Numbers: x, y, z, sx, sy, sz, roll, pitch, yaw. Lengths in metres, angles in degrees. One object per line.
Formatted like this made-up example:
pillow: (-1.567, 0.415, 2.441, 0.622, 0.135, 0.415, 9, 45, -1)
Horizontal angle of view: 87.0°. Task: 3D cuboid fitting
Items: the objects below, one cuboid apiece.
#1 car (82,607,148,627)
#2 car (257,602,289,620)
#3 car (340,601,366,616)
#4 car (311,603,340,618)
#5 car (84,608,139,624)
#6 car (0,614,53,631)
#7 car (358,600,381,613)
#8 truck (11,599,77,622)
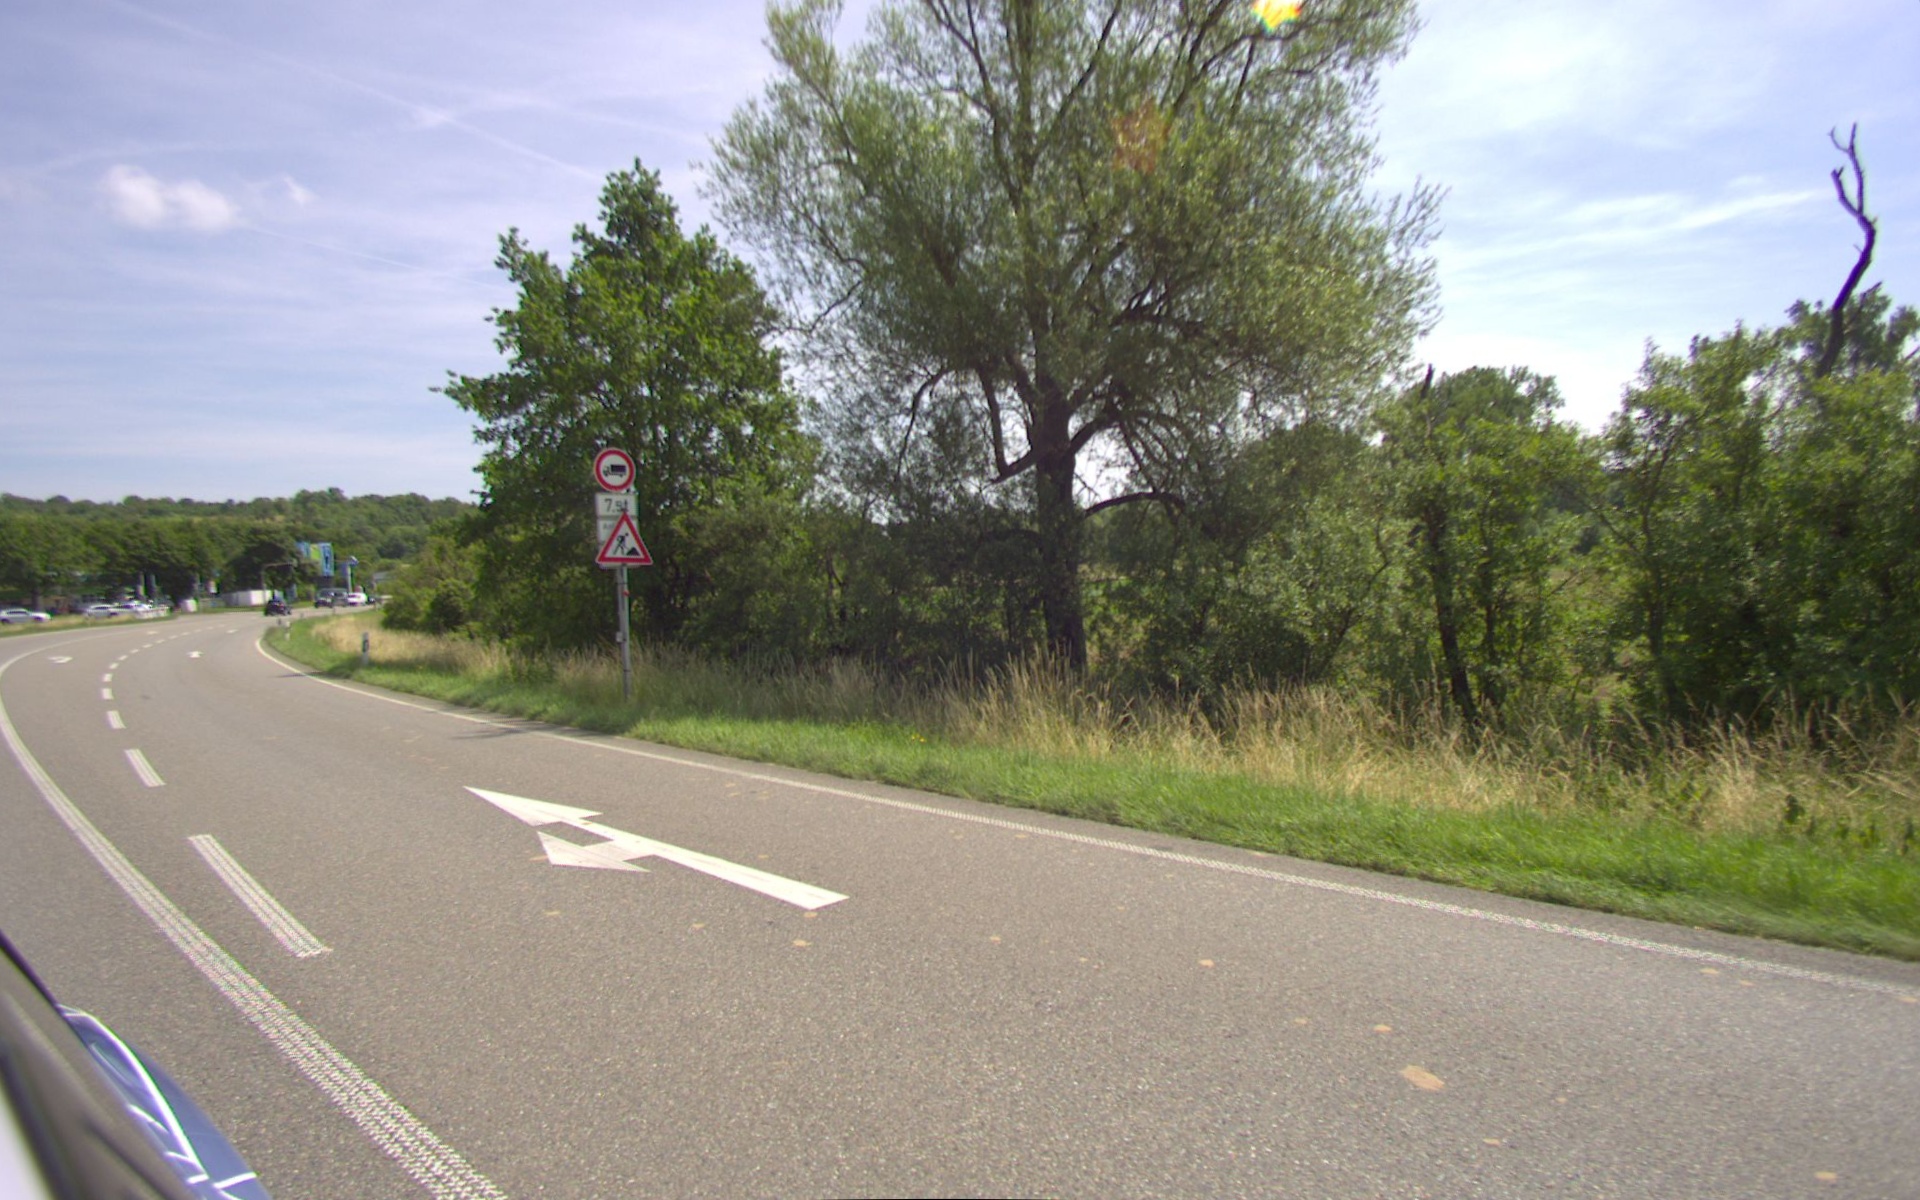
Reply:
car: (-83.843, 1.693, 100.492, 4.564, 1.619, 2.004, -3, 4, -13)
car: (-69.089, 1.104, 101.824, 1.746, 1.671, 4.013, -1, 1, -21)
car: (-84.155, 1.134, 140.353, 1.781, 1.745, 4.010, -2, 3, -10)
car: (-82.514, 1.365, 131.655, 1.781, 1.745, 4.010, -2, 3, -10)
car: (-88.359, 1.614, 105.421, 3.904, 1.429, 1.834, -2, 3, -20)
car: (-94.574, 2.242, 102.286, 4.037, 1.429, 1.806, -3, 3, -33)
car: (-86.045, 0.890, 147.520, 1.780, 1.745, 4.011, -2, 1, -15)
truck: (-118.211, 1.306, 130.704, 2.239, 2.637, 6.129, -2, 2, 11)
